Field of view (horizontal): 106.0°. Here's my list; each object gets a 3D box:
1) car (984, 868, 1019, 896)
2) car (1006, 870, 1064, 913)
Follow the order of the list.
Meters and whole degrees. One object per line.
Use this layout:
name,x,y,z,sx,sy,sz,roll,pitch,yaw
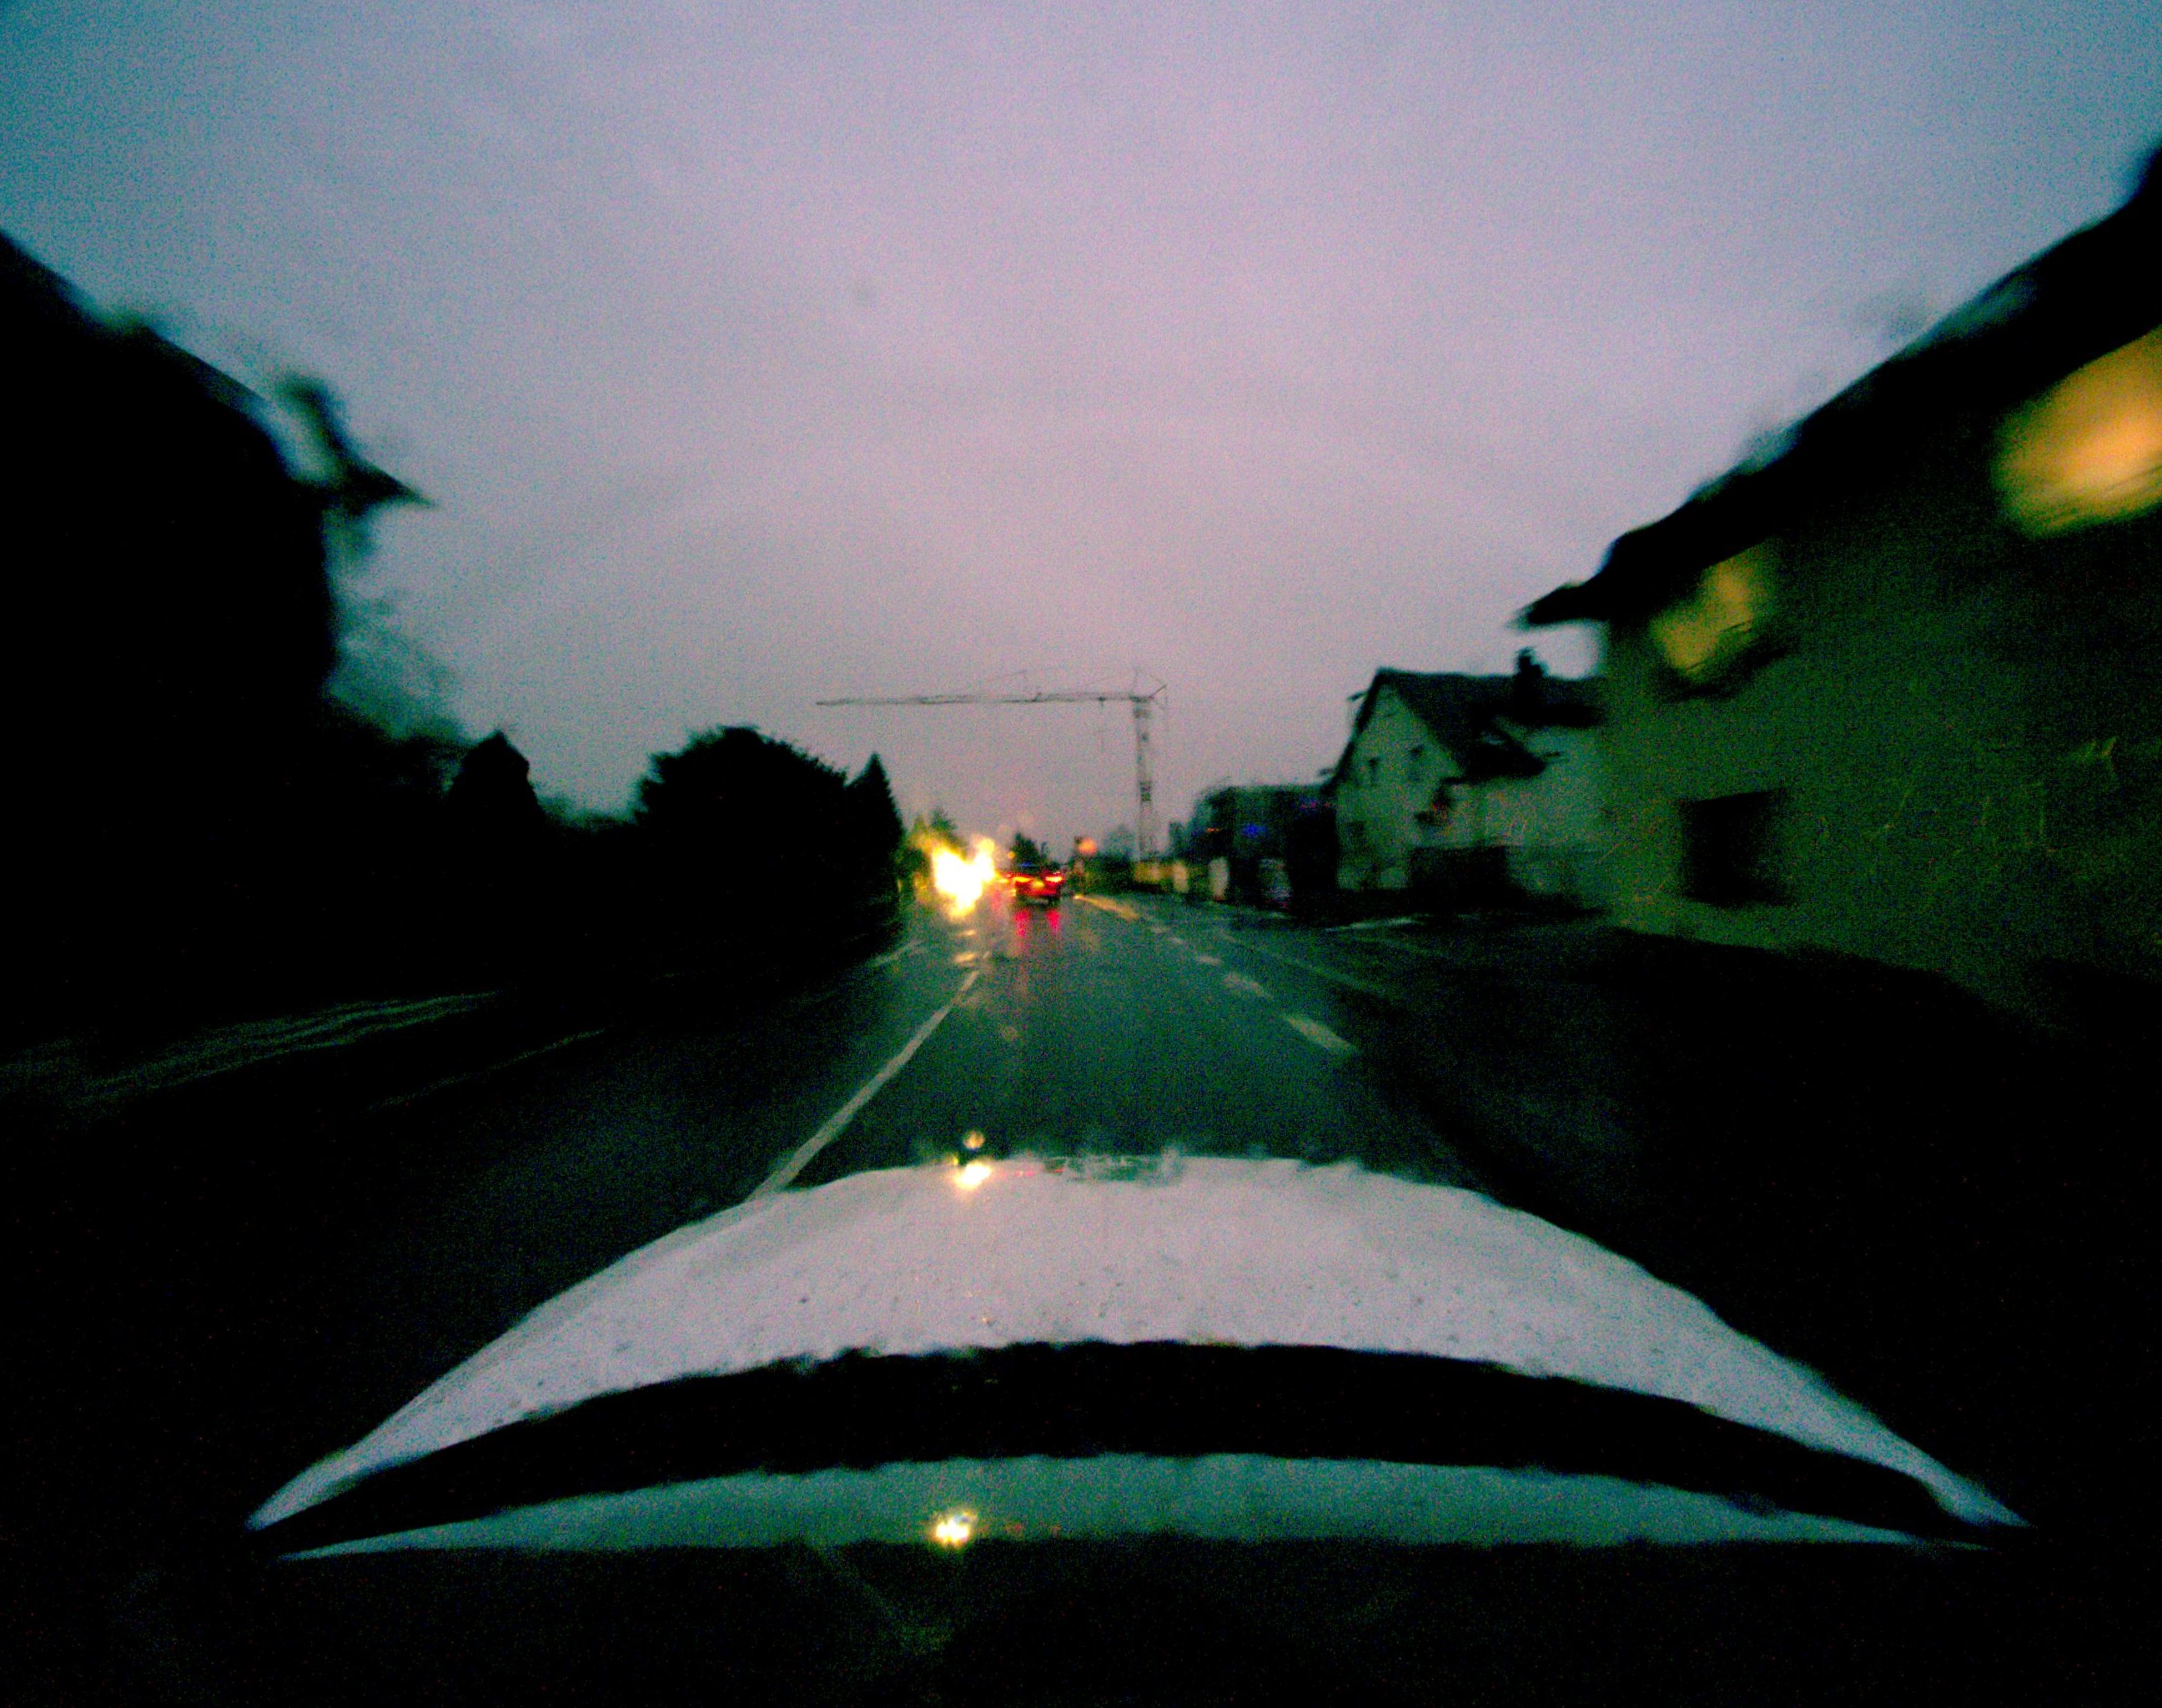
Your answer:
car,-5.858,2.011,59.585,1.996,1.882,3.981,-3,-1,-13
car,-2.017,1.568,34.414,2.046,1.573,4.689,-3,-2,-8
